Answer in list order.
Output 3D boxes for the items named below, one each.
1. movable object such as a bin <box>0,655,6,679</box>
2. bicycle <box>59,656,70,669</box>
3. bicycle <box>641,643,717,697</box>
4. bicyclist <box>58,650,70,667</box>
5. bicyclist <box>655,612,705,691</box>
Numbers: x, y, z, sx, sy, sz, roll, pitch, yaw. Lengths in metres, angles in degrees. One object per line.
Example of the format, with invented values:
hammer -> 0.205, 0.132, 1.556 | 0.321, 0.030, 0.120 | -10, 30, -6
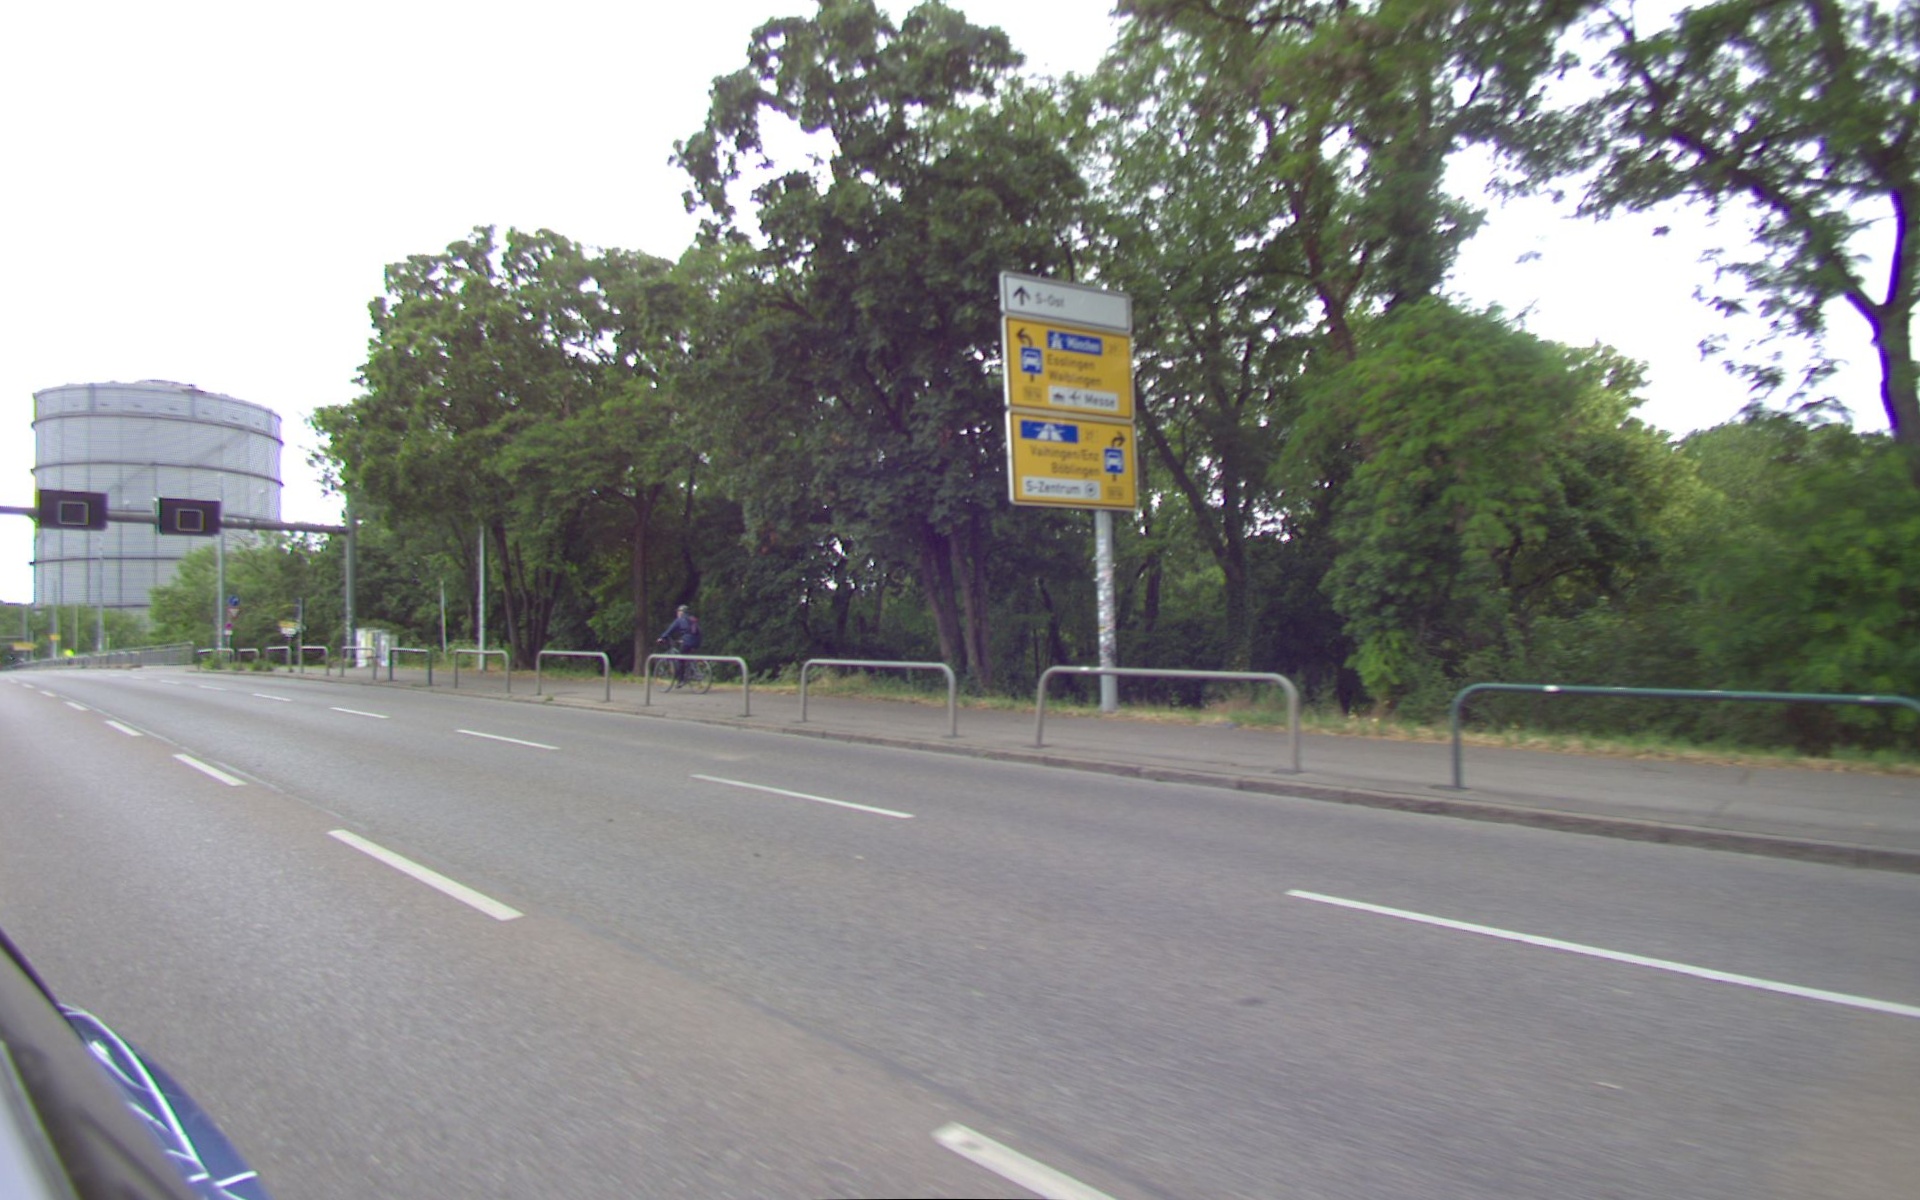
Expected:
movable object such as a bin -> -135.126, 9.319, 140.430 | 9.361, 3.348, 3.416 | -4, -5, 44
bicycle -> -83.154, 5.825, 93.976 | 0.628, 1.071, 1.984 | -10, 4, -43
bicycle -> -5.569, 1.369, 19.994 | 2.002, 1.009, 0.479 | -3, -3, 43
bicyclist -> -83.118, 5.394, 93.872 | 0.619, 1.486, 0.671 | -10, 4, -44
bicyclist -> -5.537, 1.008, 19.980 | 0.984, 1.528, 0.509 | -3, -3, 43
